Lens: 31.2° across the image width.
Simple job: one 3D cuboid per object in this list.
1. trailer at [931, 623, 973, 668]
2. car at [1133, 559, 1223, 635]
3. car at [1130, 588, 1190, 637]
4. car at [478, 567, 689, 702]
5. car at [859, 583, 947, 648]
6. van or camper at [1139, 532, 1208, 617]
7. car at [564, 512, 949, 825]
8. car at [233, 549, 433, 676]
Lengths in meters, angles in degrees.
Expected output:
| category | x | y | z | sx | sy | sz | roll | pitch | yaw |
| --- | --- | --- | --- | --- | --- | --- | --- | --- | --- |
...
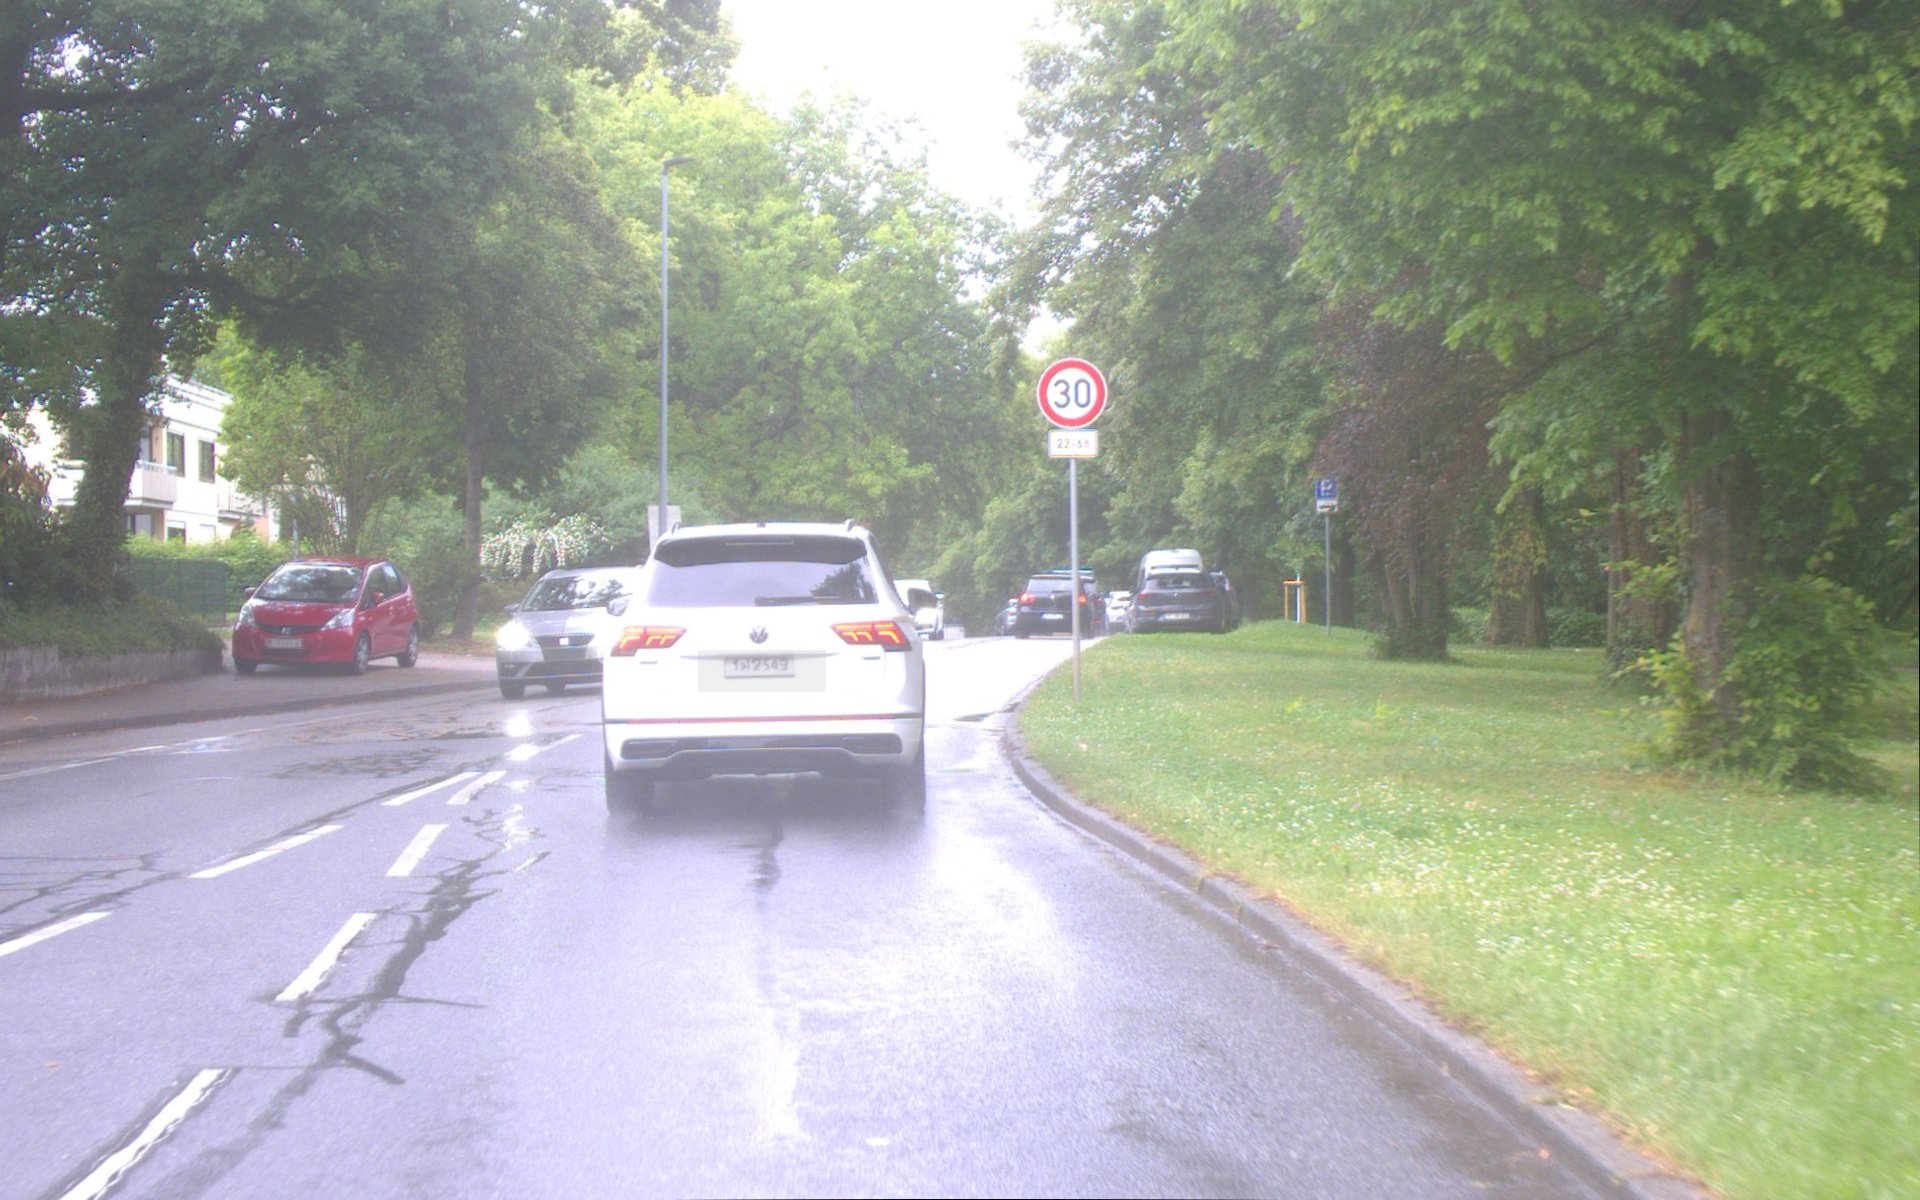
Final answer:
| category | x | y | z | sx | sy | sz | roll | pitch | yaw |
| --- | --- | --- | --- | --- | --- | --- | --- | --- | --- |
| trailer | -0.420 | 2.350 | 176.184 | 1.529 | 2.069 | 4.000 | -2 | -3 | -8 |
| car | 4.449 | -0.054 | 69.732 | 1.701 | 1.457 | 4.216 | -2 | 0 | 5 |
| car | 6.691 | 0.430 | 115.429 | 1.805 | 1.534 | 4.267 | -2 | -1 | 1 |
| car | -4.361 | 0.363 | 40.447 | 1.790 | 1.418 | 4.359 | -2 | 1 | 2 |
| car | -1.319 | 0.355 | 80.656 | 1.701 | 1.405 | 4.008 | -3 | 0 | 3 |
| van or camper | 6.752 | -0.788 | 108.904 | 2.016 | 2.574 | 8.434 | 1 | 0 | 3 |
| car | -1.108 | 0.350 | 20.680 | 1.905 | 1.679 | 4.200 | 0 | 1 | 2 |
| car | -8.473 | 0.134 | 46.782 | 1.993 | 1.511 | 4.000 | 4 | 1 | -1 |
